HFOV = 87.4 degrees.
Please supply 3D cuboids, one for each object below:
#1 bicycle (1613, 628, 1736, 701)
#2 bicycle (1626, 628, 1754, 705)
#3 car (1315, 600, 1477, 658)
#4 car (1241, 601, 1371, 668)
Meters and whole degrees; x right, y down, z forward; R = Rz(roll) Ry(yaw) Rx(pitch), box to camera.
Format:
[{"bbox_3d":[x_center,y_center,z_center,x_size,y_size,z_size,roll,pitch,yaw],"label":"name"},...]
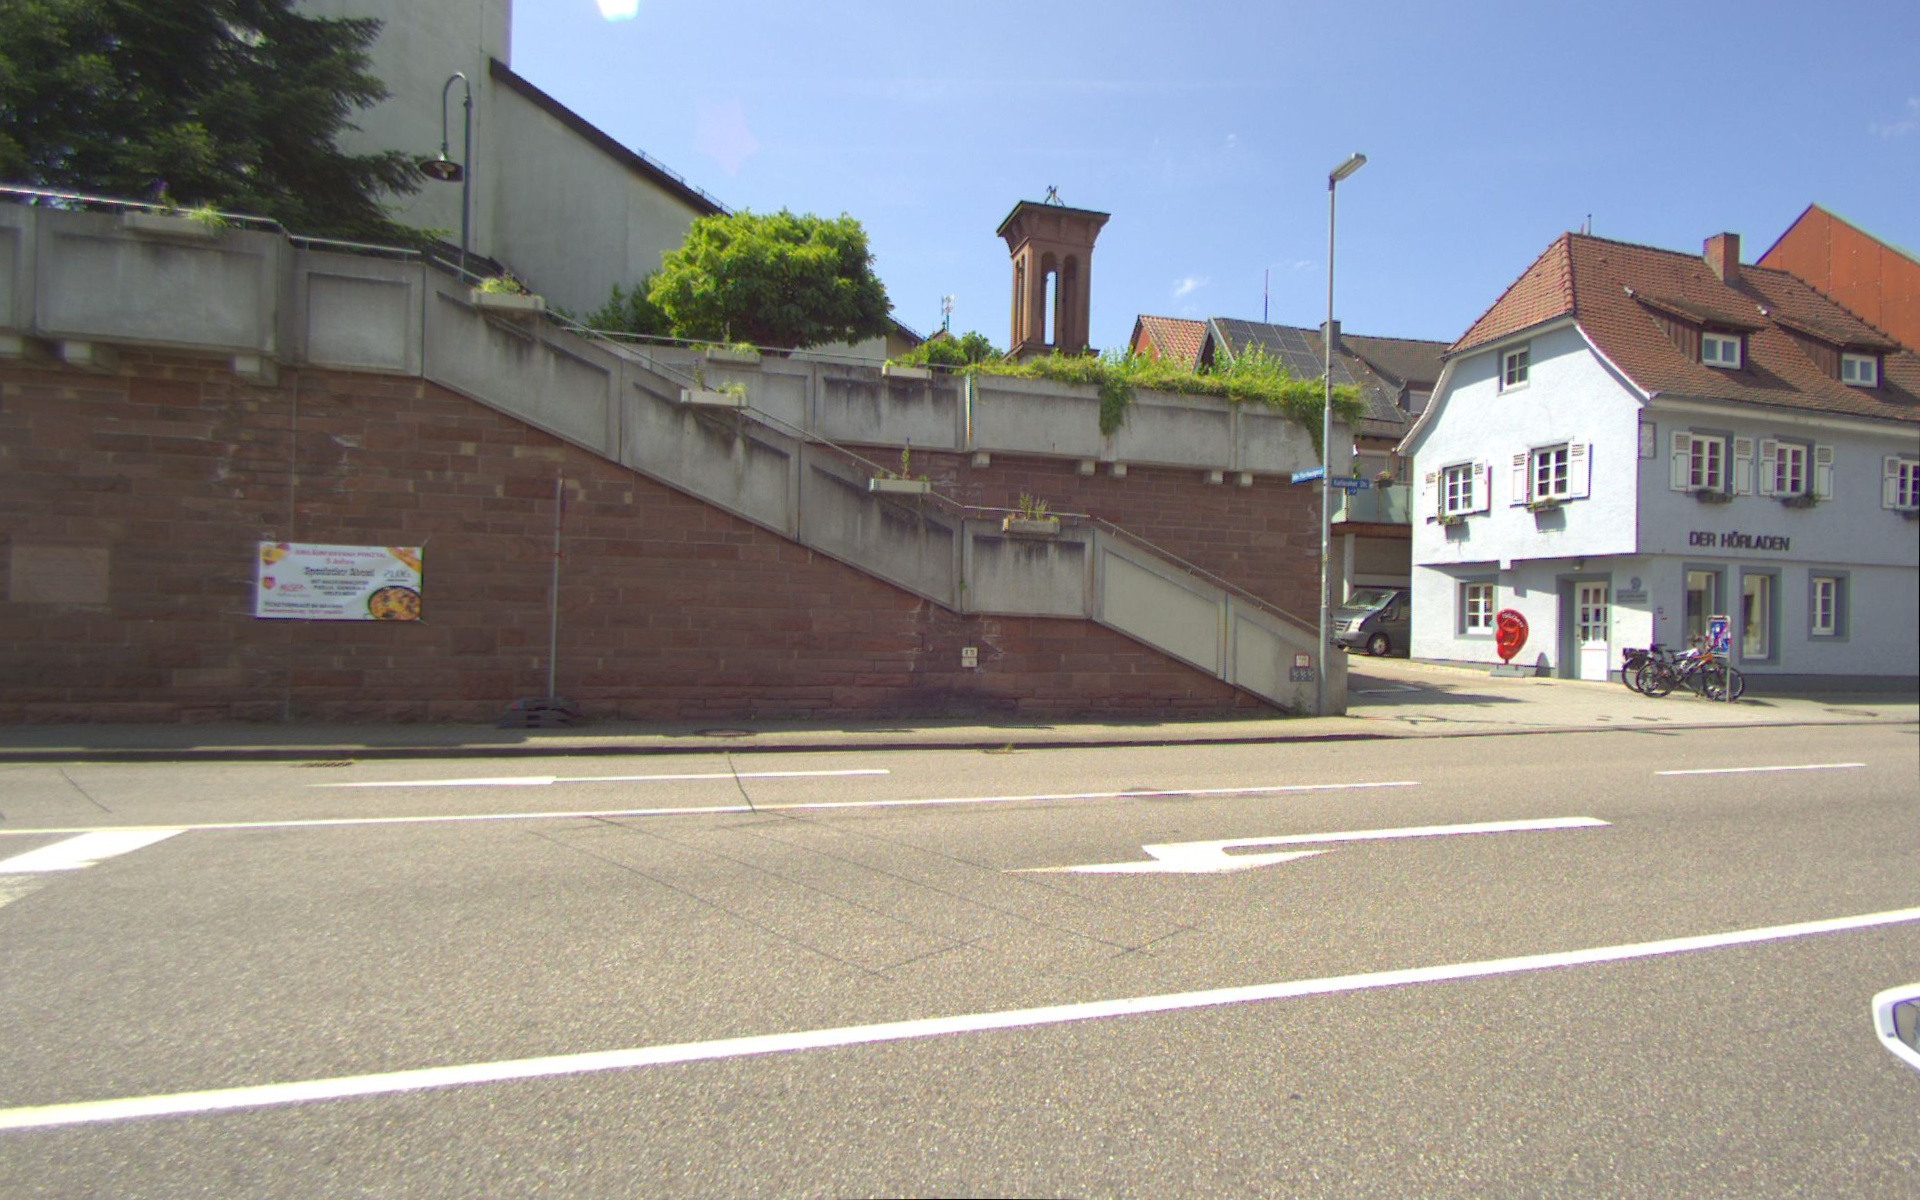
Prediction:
[{"bbox_3d":[13.821,1.230,19.475,1.795,1.266,0.578,3,3,22],"label":"bicycle"},{"bbox_3d":[13.650,1.222,18.843,1.795,1.266,0.578,3,3,22],"label":"bicycle"},{"bbox_3d":[12.704,0.833,29.409,3.924,1.503,1.864,2,0,-5],"label":"car"},{"bbox_3d":[8.868,0.824,26.113,1.946,1.541,3.999,1,1,0],"label":"car"}]
